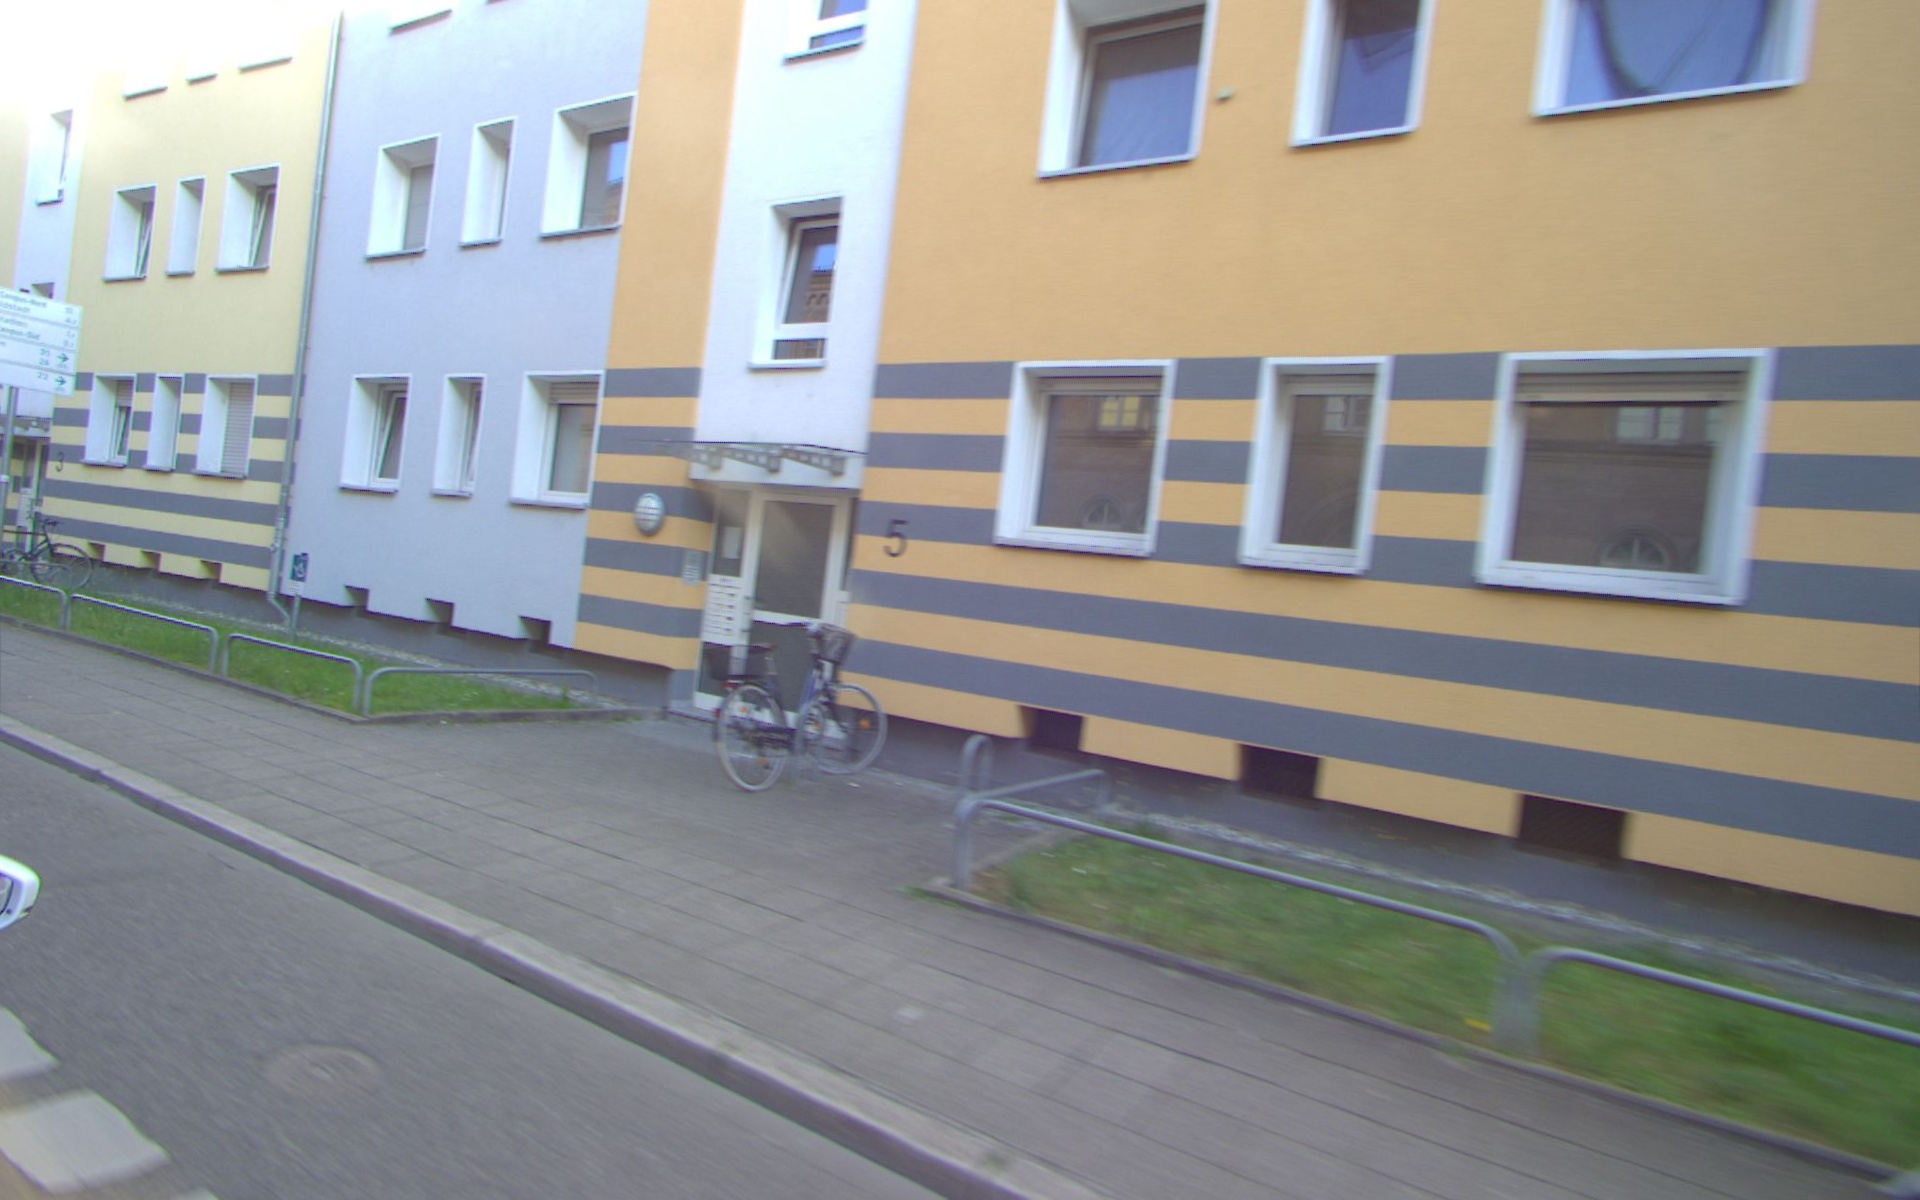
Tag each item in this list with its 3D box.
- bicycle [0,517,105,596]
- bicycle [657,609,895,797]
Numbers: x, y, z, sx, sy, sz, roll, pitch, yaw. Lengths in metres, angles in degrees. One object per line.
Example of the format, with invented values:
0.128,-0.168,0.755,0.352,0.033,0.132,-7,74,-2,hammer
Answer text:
-13.283,-0.638,14.166,0.602,1.016,1.756,6,1,27,bicycle
-1.266,0.719,7.322,0.542,1.151,1.813,7,0,31,bicycle
